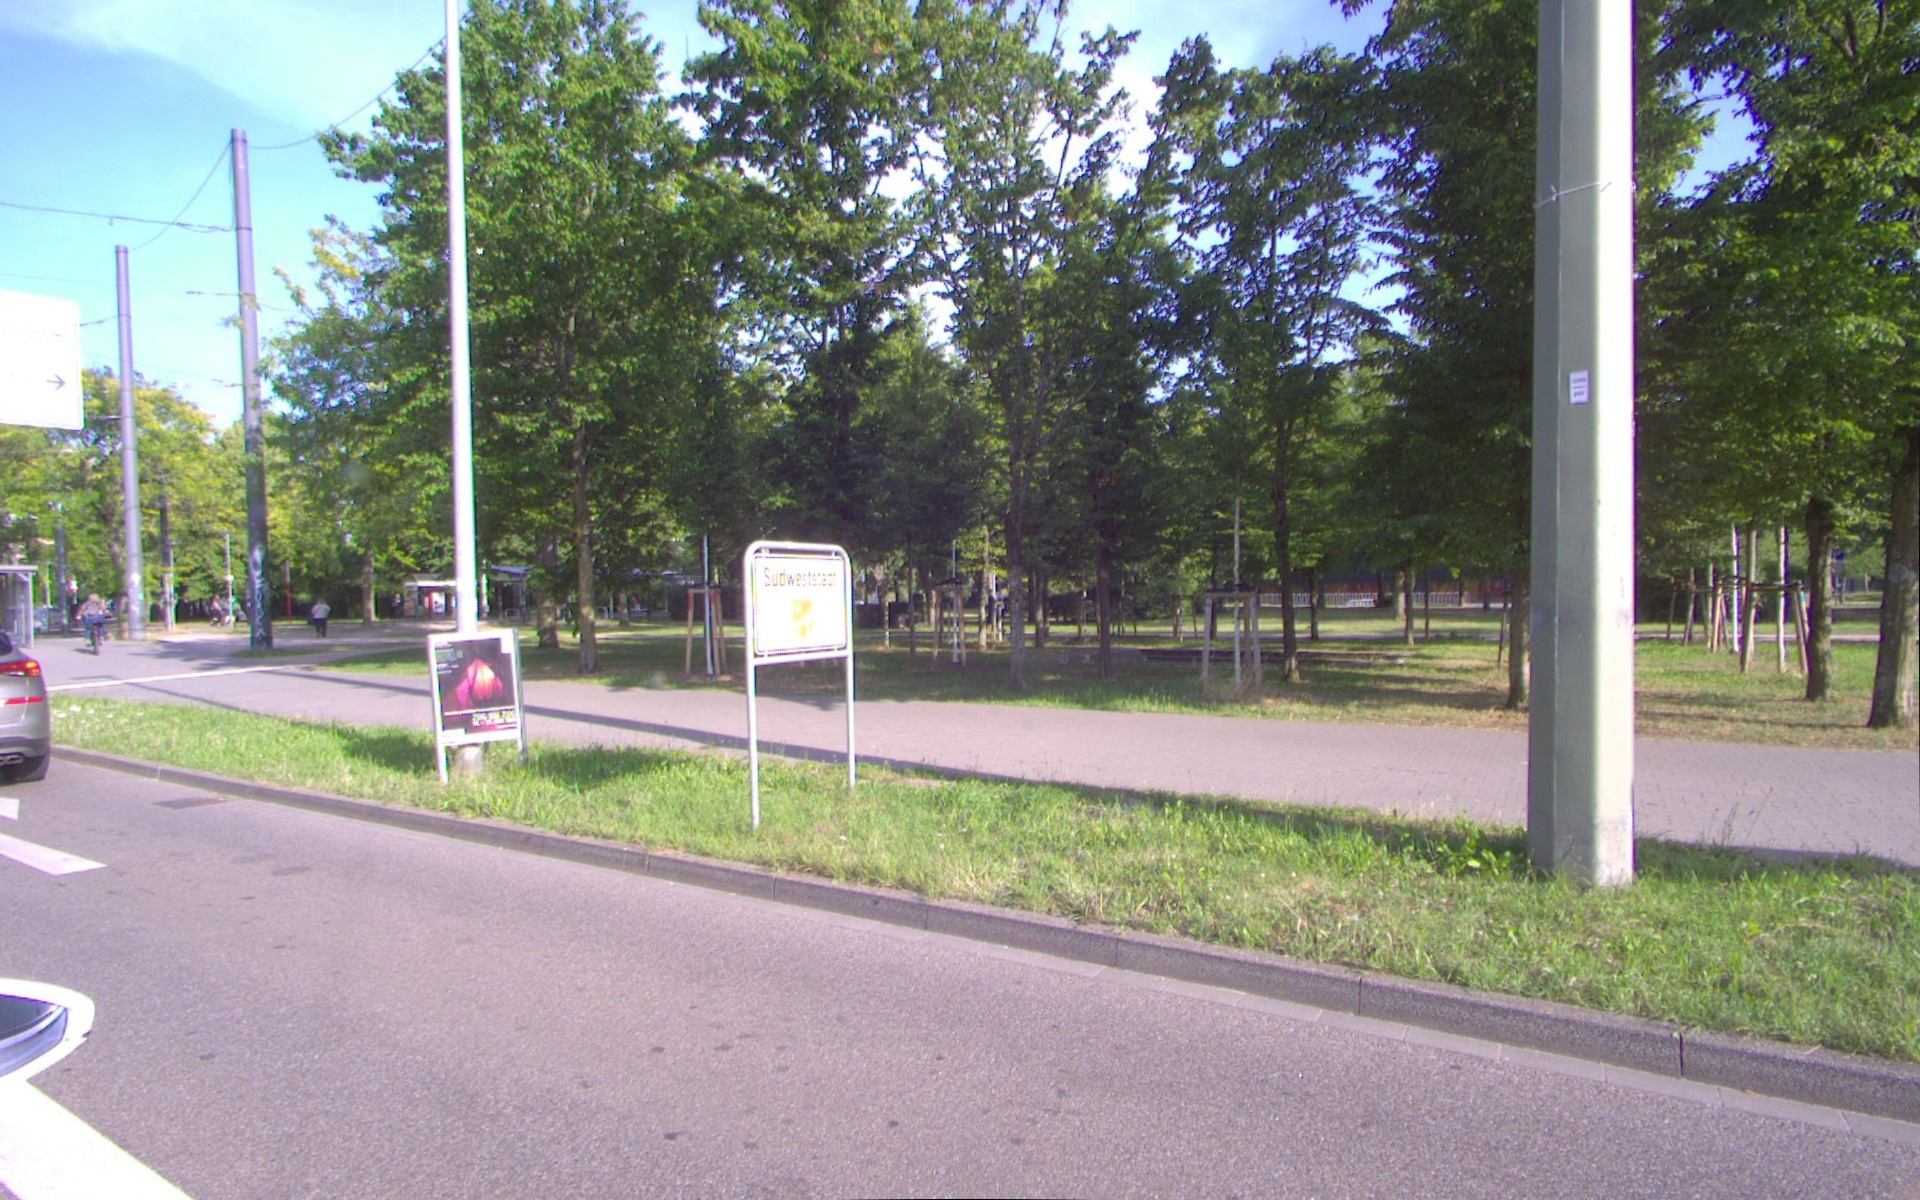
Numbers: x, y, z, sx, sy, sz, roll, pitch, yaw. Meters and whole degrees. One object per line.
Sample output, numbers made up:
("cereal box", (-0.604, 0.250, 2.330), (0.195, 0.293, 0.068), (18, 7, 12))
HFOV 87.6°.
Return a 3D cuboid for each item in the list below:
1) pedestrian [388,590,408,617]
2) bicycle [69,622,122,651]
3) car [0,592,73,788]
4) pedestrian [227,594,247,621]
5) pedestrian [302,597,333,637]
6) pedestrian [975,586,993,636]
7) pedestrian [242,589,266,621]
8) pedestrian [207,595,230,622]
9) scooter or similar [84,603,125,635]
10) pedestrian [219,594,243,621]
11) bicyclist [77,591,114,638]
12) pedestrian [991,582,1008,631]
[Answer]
("pedestrian", (-35.538, 0.226, 63.285), (0.792, 1.659, 0.832), (0, 1, 38))
("bicycle", (-24.273, 1.002, 28.100), (2.138, 0.767, 0.494), (-1, 2, 33))
("car", (-9.997, 0.798, 9.154), (3.595, 1.673, 1.880), (-1, 1, 32))
("pedestrian", (-39.996, 0.408, 55.406), (0.804, 1.508, 0.696), (-2, 1, -33))
("pedestrian", (-26.922, 0.716, 41.952), (0.793, 1.659, 0.754), (-1, 1, -7))
("pedestrian", (0.890, 0.399, 36.776), (0.617, 1.836, 0.502), (-1, 1, 6))
("pedestrian", (-40.256, 0.295, 57.136), (0.826, 1.809, 0.798), (0, 1, 28))
("pedestrian", (-41.036, 0.462, 55.423), (0.687, 1.508, 0.815), (-1, 1, -9))
("scooter or similar", (-31.503, 0.702, 36.881), (1.305, 1.132, 0.420), (-1, 1, 13))
("pedestrian", (-41.100, 0.417, 56.450), (0.688, 1.508, 0.813), (0, 1, 22))
("bicyclist", (-24.202, 0.406, 28.023), (0.856, 1.279, 0.533), (0, 1, 32))
("pedestrian", (1.495, 0.230, 37.750), (0.617, 1.836, 0.502), (-1, 1, 3))
